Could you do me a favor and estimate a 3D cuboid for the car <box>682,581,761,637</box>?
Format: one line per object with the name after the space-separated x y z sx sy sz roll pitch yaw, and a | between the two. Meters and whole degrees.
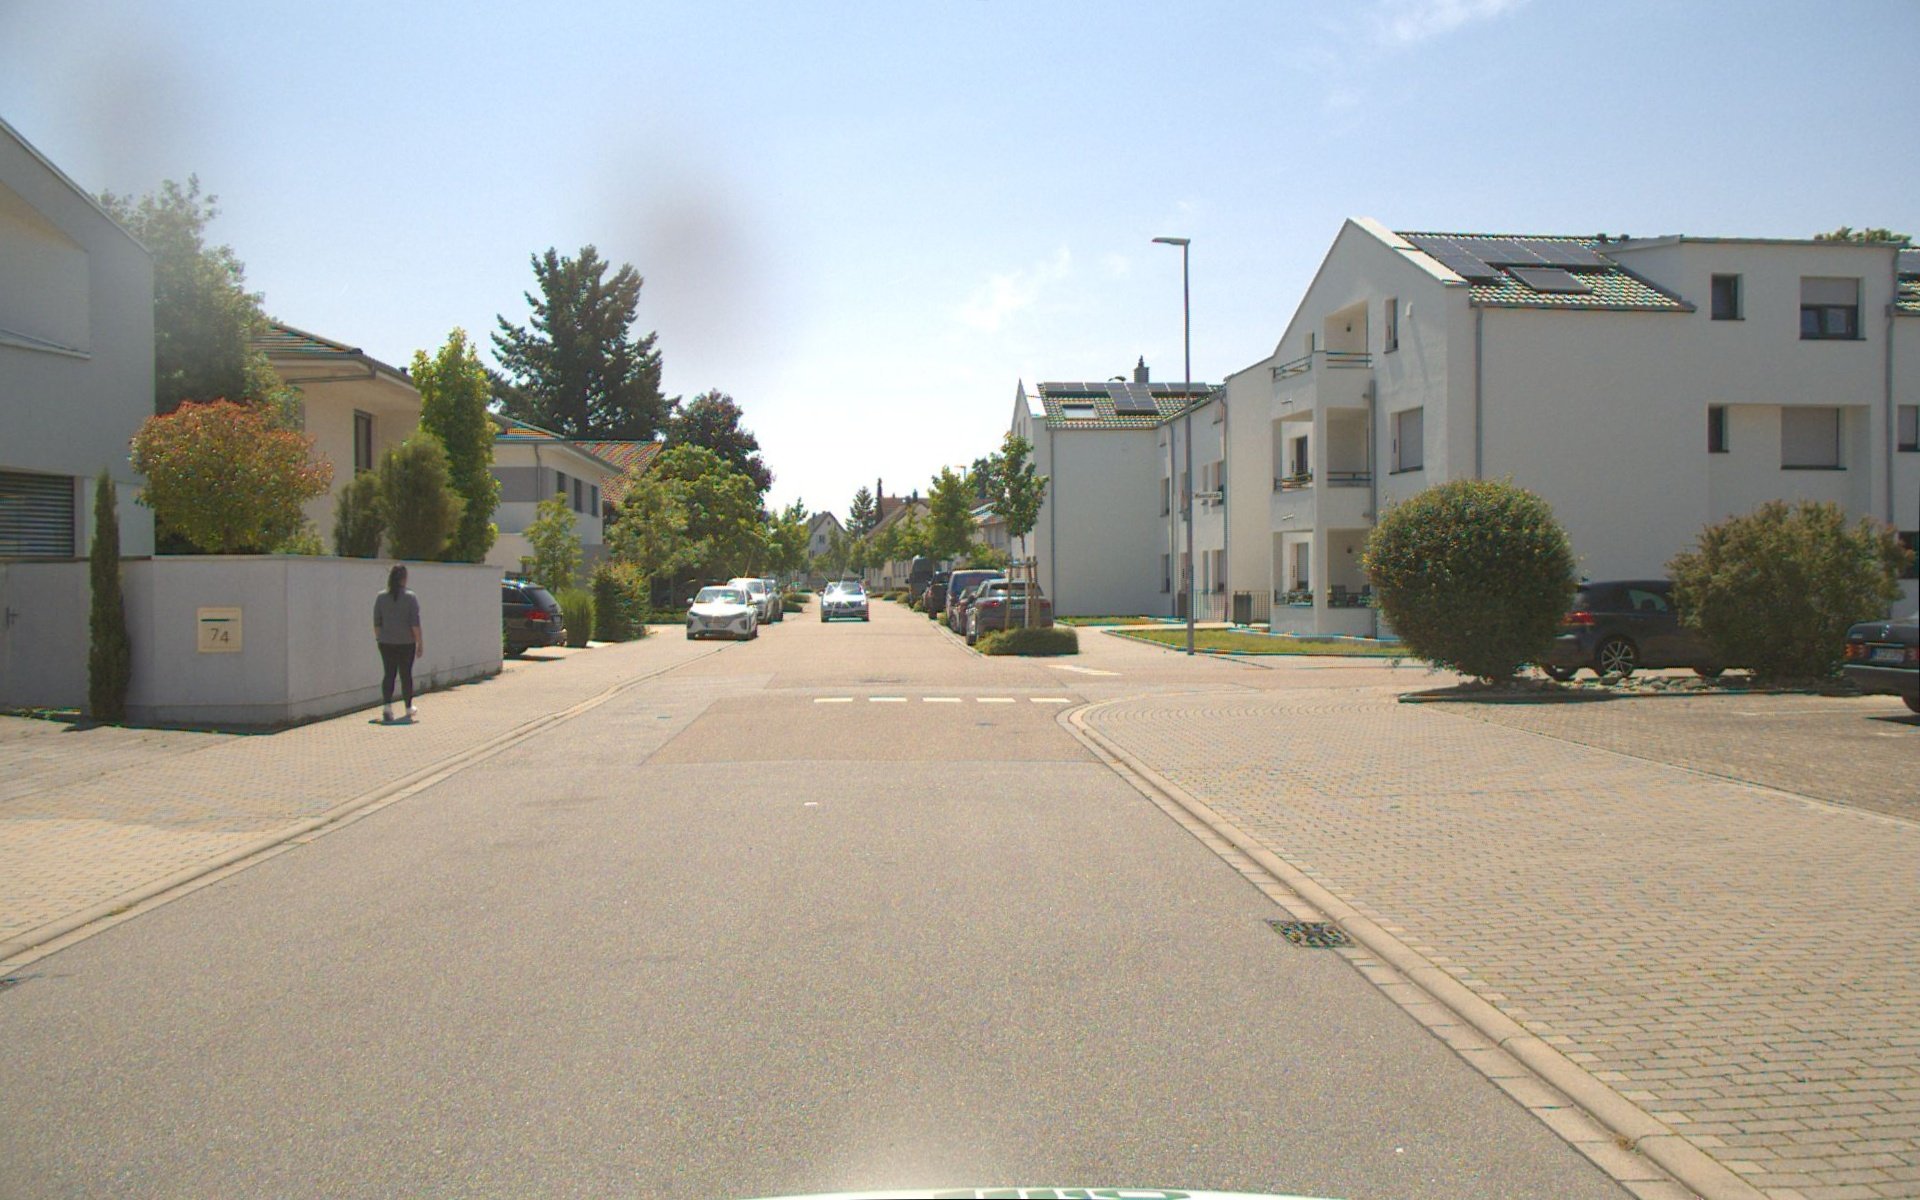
-6.808 0.225 47.495 1.815 1.514 4.383 0 1 -3 | car

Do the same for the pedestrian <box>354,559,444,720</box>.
-6.358 0.435 18.784 0.700 1.777 0.960 0 0 -3 | pedestrian

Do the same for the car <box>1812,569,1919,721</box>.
10.767 0.377 16.176 4.120 1.398 1.662 -1 1 -7 | car

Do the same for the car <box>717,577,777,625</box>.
-8.021 0.015 62.533 1.888 1.716 4.496 0 1 -3 | car

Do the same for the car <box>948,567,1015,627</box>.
0.680 -0.118 56.157 2.057 1.915 4.841 -1 1 -2 | car

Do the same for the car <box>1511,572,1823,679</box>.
10.467 0.351 24.672 3.911 1.493 1.756 -1 1 -2 | car

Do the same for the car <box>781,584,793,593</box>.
-26.016 -1.783 248.755 1.630 1.272 3.929 -1 1 -3 | car

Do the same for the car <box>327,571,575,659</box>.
-10.151 0.277 33.203 4.338 1.499 1.851 3 0 1 | car

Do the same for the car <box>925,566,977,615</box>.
-0.412 -0.411 70.259 1.954 1.981 5.212 -2 1 -3 | car

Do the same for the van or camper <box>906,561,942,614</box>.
-2.096 -0.719 95.192 1.954 2.993 3.998 0 0 -3 | van or camper

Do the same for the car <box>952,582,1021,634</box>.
0.748 0.209 49.476 1.647 1.467 4.022 0 1 -5 | car

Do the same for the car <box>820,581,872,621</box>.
-4.456 0.011 65.260 1.815 1.504 4.699 0 1 -1 | car

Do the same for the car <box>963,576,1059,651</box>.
1.155 0.283 39.359 1.739 1.623 4.275 -2 1 -5 | car
